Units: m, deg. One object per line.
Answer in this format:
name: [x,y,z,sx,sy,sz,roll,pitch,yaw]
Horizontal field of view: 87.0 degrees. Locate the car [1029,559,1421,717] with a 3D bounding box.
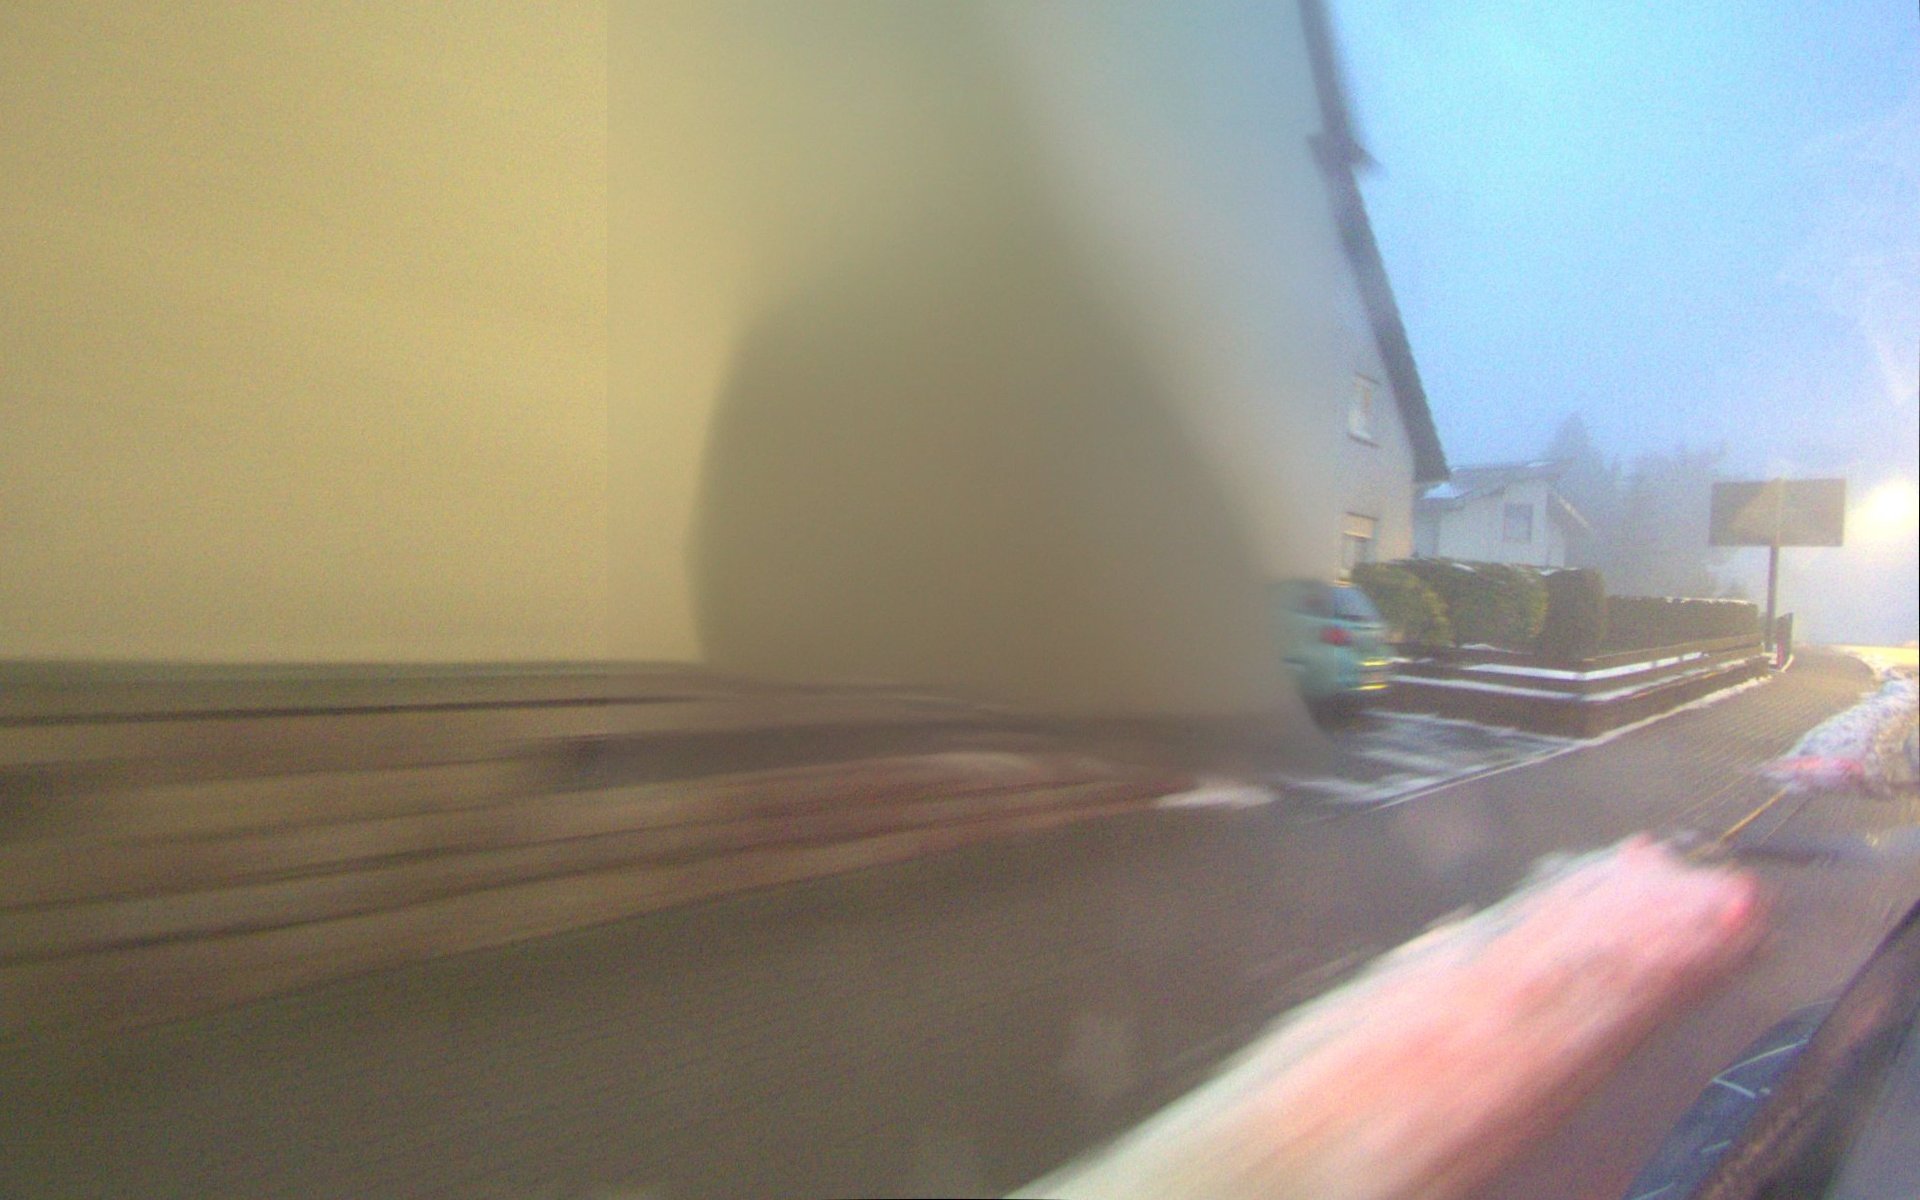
car: [2.840,0.378,11.471,1.685,1.472,3.991,4,-3,-43]
